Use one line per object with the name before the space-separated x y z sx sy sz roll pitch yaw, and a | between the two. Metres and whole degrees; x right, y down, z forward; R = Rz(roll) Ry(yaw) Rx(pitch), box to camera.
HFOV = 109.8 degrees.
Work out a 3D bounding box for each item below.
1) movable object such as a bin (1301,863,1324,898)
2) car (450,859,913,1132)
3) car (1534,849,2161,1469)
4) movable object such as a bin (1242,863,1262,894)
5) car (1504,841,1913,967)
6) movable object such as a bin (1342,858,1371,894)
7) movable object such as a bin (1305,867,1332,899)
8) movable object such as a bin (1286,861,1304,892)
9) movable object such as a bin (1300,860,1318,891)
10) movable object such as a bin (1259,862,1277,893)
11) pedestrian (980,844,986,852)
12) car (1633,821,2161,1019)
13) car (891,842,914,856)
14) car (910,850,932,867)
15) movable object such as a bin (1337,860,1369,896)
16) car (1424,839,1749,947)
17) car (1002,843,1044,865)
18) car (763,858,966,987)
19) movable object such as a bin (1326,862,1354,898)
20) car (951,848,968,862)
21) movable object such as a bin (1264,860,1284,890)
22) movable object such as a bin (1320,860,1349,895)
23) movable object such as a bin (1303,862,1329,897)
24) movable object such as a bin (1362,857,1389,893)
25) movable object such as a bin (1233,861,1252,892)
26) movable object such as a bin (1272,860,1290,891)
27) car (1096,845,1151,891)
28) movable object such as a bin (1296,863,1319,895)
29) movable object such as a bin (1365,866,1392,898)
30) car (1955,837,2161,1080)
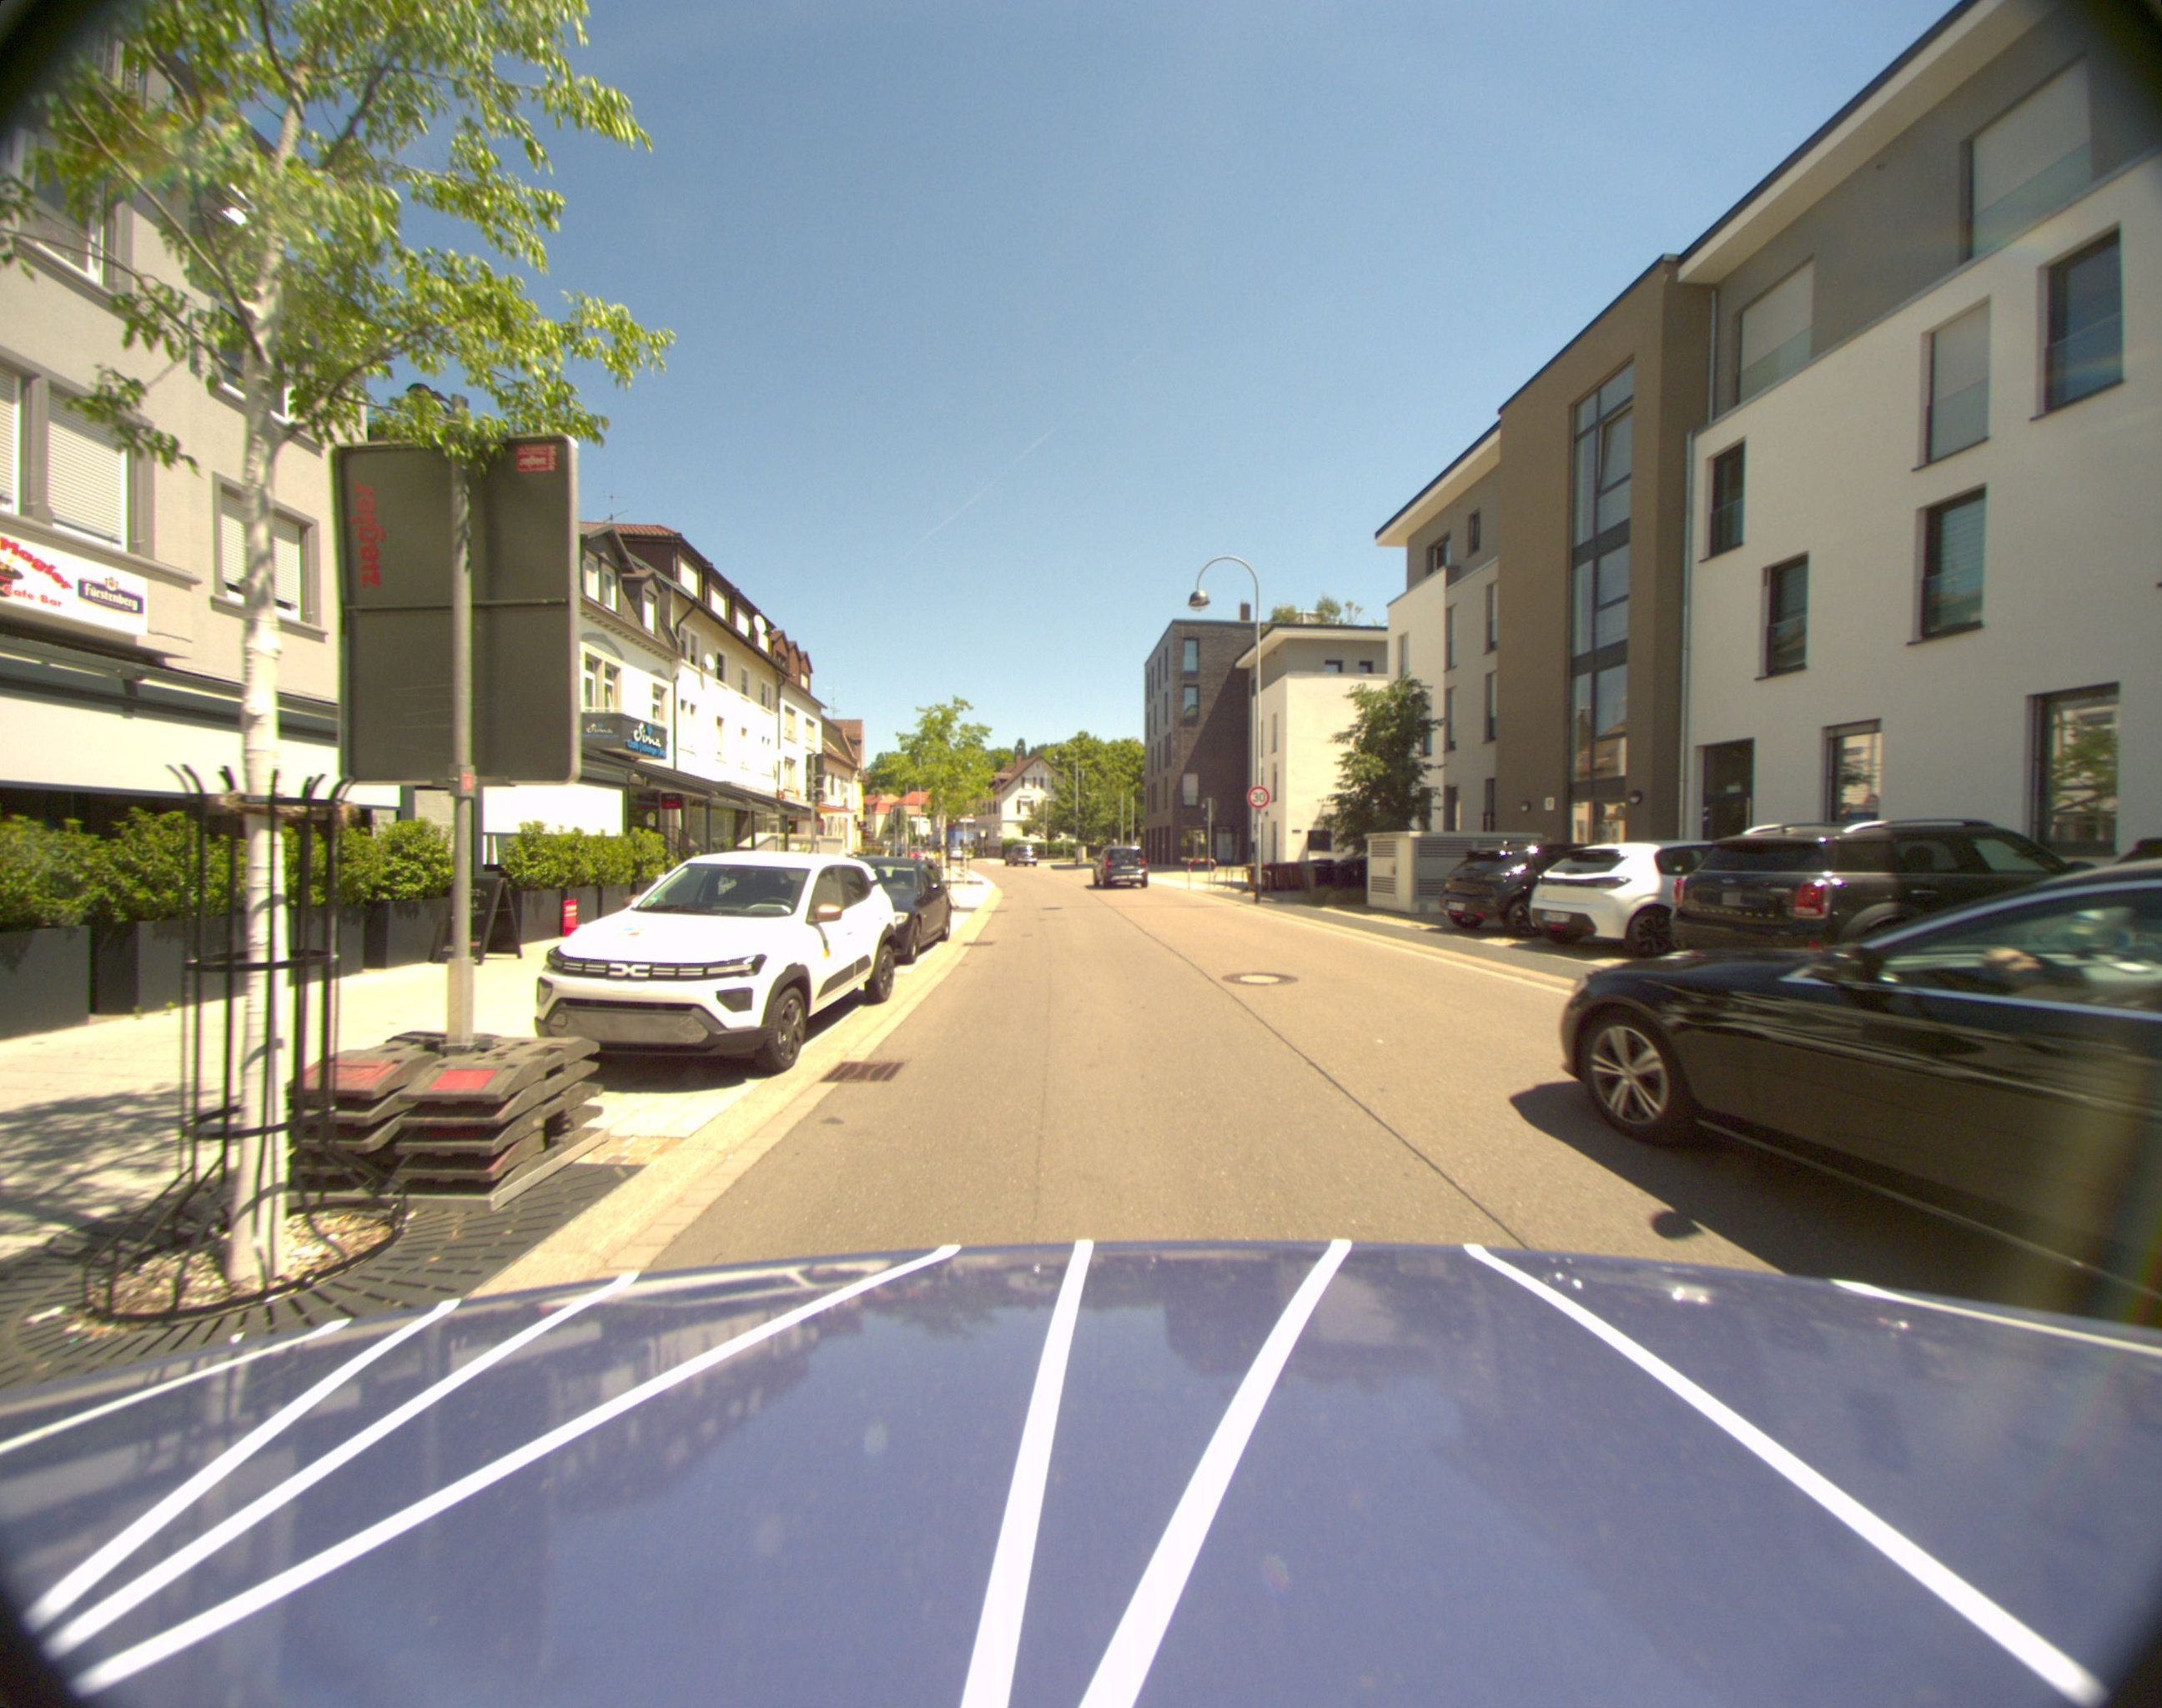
movable object such as a bin | 6.750 0.757 22.157 0.555 0.992 0.427 0 1 -2
car | -2.848 0.856 6.569 1.741 1.477 4.054 2 1 2
car | 3.679 0.770 1.984 1.899 1.544 4.797 -1 0 -4
movable object such as a bin | 5.588 0.794 24.889 0.484 0.992 0.587 0 1 -5
car | 8.206 0.586 10.200 3.998 1.413 1.909 -2 1 -3
movable object such as a bin | 8.072 0.638 22.301 0.578 1.033 0.549 -1 1 -21
movable object such as a bin | 6.732 0.824 21.579 0.556 0.863 0.481 -1 1 -21
movable object such as a bin | 7.056 0.728 25.038 0.404 0.992 0.555 0 1 -5
movable object such as a bin | 7.514 0.696 25.053 0.404 0.992 0.555 0 1 -5
movable object such as a bin | 6.127 0.764 24.904 0.404 0.992 0.555 0 1 -5
pedestrian | -12.114 -0.744 93.610 0.599 1.053 0.566 -1 2 -24
car | 8.319 0.550 7.682 4.043 1.642 1.999 -2 1 -2
car | -19.376 -0.559 82.476 1.738 1.464 4.314 2 0 -23
car | -14.802 0.397 70.100 1.685 1.505 3.381 -2 1 -17
movable object such as a bin | 8.239 0.723 23.025 0.678 1.033 0.603 -1 1 -21
car | 8.037 0.564 12.369 3.998 1.507 1.999 -2 1 -3
car | -4.603 -0.027 59.896 1.951 1.649 4.226 -2 2 -25
car | -3.096 0.891 11.808 1.837 1.474 4.095 2 1 2
movable object such as a bin | 7.519 0.745 22.093 0.556 1.033 0.544 -1 1 -21
car | -13.592 0.128 84.839 1.672 1.388 3.844 -3 0 -10
movable object such as a bin | 6.484 0.709 25.580 0.484 0.992 0.587 0 1 -5
movable object such as a bin | 7.869 0.726 23.620 0.622 1.033 0.581 -1 1 -21
movable object such as a bin | 7.032 0.747 22.758 0.556 1.014 0.560 -1 1 -8
movable object such as a bin | 8.730 0.611 22.526 0.556 1.033 0.481 -1 1 -21
movable object such as a bin | 5.408 0.743 25.514 0.484 0.992 0.587 0 1 -5
movable object such as a bin | 6.569 0.712 24.937 0.404 0.992 0.555 0 1 -5
car | 1.663 0.506 30.738 1.815 1.691 4.074 -1 1 -3
movable object such as a bin | 7.049 0.769 23.629 0.556 0.992 0.404 0 1 -17
movable object such as a bin | 8.524 0.797 21.764 0.556 0.863 0.481 -1 1 -21
car | 8.763 0.617 4.894 4.043 1.488 1.999 -2 1 -2
